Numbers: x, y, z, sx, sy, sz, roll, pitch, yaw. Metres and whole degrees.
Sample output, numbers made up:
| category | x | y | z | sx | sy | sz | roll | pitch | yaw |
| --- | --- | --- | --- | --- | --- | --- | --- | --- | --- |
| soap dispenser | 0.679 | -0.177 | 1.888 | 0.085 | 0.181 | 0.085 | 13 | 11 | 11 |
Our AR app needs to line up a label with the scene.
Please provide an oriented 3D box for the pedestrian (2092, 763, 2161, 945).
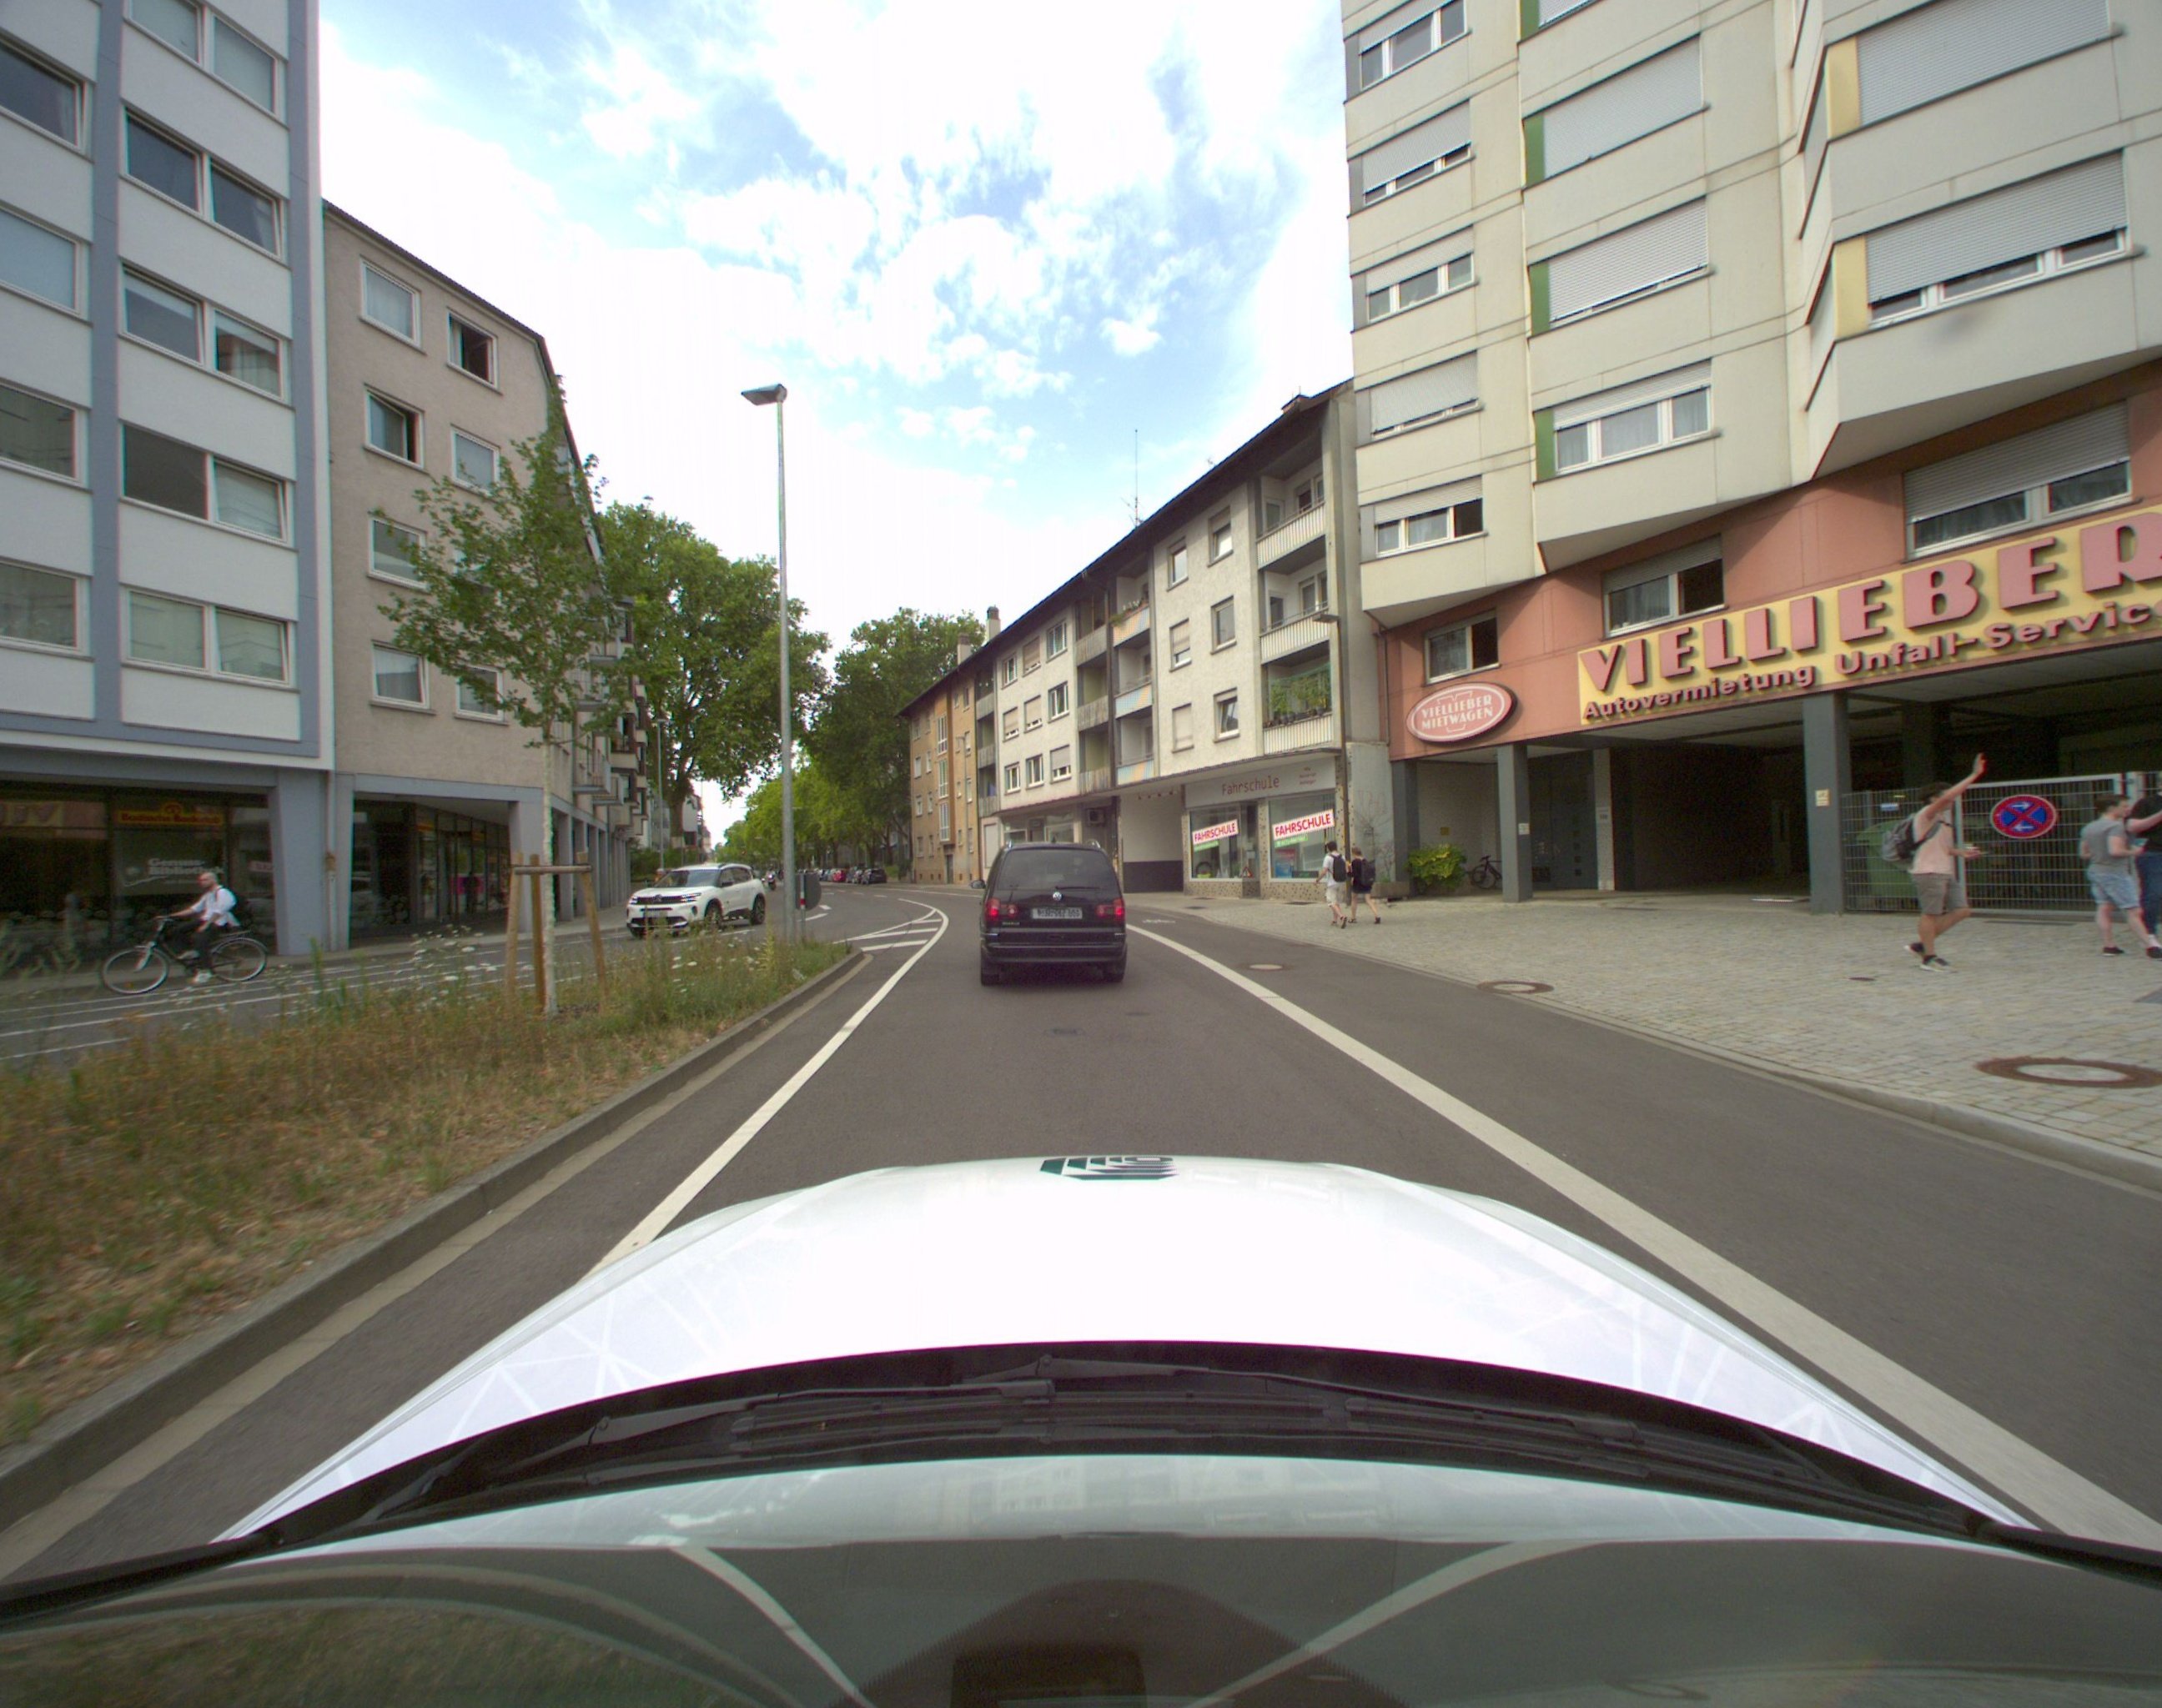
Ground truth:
| category | x | y | z | sx | sy | sz | roll | pitch | yaw |
| --- | --- | --- | --- | --- | --- | --- | --- | --- | --- |
| pedestrian | 11.528 | -0.014 | 8.771 | 0.675 | 1.903 | 0.585 | -4 | 0 | -25 |

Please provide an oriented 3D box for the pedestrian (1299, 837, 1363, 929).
| category | x | y | z | sx | sy | sz | roll | pitch | yaw |
| --- | --- | --- | --- | --- | --- | --- | --- | --- | --- |
| pedestrian | 5.035 | 0.567 | 16.436 | 0.753 | 1.750 | 0.854 | -5 | 0 | -16 |

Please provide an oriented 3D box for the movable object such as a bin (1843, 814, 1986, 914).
| category | x | y | z | sx | sy | sz | roll | pitch | yaw |
| --- | --- | --- | --- | --- | --- | --- | --- | --- | --- |
| movable object such as a bin | 12.888 | 0.152 | 12.617 | 1.151 | 1.460 | 1.213 | -1 | -1 | -27 |

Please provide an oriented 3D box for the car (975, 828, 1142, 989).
| category | x | y | z | sx | sy | sz | roll | pitch | yaw |
| --- | --- | --- | --- | --- | --- | --- | --- | --- | --- |
| car | -0.481 | 0.625 | 10.903 | 1.811 | 1.766 | 3.726 | 0 | -1 | -9 |

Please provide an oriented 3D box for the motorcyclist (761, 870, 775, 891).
| category | x | y | z | sx | sy | sz | roll | pitch | yaw |
| --- | --- | --- | --- | --- | --- | --- | --- | --- | --- |
| motorcyclist | -22.052 | 1.857 | 57.380 | 0.799 | 1.460 | 0.858 | -3 | -1 | -23 |

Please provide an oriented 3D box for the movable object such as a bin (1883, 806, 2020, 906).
| category | x | y | z | sx | sy | sz | roll | pitch | yaw |
| --- | --- | --- | --- | --- | --- | --- | --- | --- | --- |
| movable object such as a bin | 14.018 | 0.033 | 13.137 | 1.200 | 1.516 | 1.186 | -1 | -1 | -27 |

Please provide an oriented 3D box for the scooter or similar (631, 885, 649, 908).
| category | x | y | z | sx | sy | sz | roll | pitch | yaw |
| --- | --- | --- | --- | --- | --- | --- | --- | --- | --- |
| scooter or similar | -24.588 | 2.371 | 45.392 | 1.162 | 1.265 | 0.289 | -2 | -2 | 27 |

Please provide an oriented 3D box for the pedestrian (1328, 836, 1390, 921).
| category | x | y | z | sx | sy | sz | roll | pitch | yaw |
| --- | --- | --- | --- | --- | --- | --- | --- | --- | --- |
| pedestrian | 5.708 | 0.505 | 16.758 | 0.608 | 1.668 | 0.935 | -4 | 0 | -27 |

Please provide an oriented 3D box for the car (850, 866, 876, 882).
| category | x | y | z | sx | sy | sz | roll | pitch | yaw |
| --- | --- | --- | --- | --- | --- | --- | --- | --- | --- |
| car | -20.592 | 1.894 | 76.970 | 1.666 | 1.422 | 3.913 | -1 | -1 | -26 |

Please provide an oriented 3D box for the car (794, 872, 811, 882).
| category | x | y | z | sx | sy | sz | roll | pitch | yaw |
| --- | --- | --- | --- | --- | --- | --- | --- | --- | --- |
| car | -39.920 | 3.309 | 116.641 | 1.684 | 1.394 | 4.422 | 0 | -2 | -26 |

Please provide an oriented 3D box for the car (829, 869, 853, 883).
| category | x | y | z | sx | sy | sz | roll | pitch | yaw |
| --- | --- | --- | --- | --- | --- | --- | --- | --- | --- |
| car | -25.329 | 2.327 | 85.770 | 1.684 | 1.394 | 4.422 | 0 | -2 | -26 |

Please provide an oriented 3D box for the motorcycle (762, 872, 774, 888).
| category | x | y | z | sx | sy | sz | roll | pitch | yaw |
| --- | --- | --- | --- | --- | --- | --- | --- | --- | --- |
| motorcycle | -22.030 | 1.827 | 57.350 | 0.724 | 1.095 | 2.021 | -3 | -1 | -22 |

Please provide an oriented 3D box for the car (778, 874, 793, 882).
| category | x | y | z | sx | sy | sz | roll | pitch | yaw |
| --- | --- | --- | --- | --- | --- | --- | --- | --- | --- |
| car | -49.005 | 4.019 | 134.998 | 1.651 | 1.395 | 3.479 | 2 | -3 | -29 |

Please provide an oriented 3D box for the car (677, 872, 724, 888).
| category | x | y | z | sx | sy | sz | roll | pitch | yaw |
| --- | --- | --- | --- | --- | --- | --- | --- | --- | --- |
| car | -38.891 | 2.642 | 83.250 | 4.277 | 1.606 | 1.952 | 1 | -1 | -25 |

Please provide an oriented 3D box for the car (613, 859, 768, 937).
| category | x | y | z | sx | sy | sz | roll | pitch | yaw |
| --- | --- | --- | --- | --- | --- | --- | --- | --- | --- |
| car | -9.397 | 0.992 | 20.030 | 1.827 | 1.660 | 4.320 | -1 | -1 | -2 |

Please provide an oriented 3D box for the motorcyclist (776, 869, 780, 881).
| category | x | y | z | sx | sy | sz | roll | pitch | yaw |
| --- | --- | --- | --- | --- | --- | --- | --- | --- | --- |
| motorcyclist | -39.977 | 2.759 | 107.412 | 0.448 | 1.647 | 0.515 | -1 | -2 | -25 |

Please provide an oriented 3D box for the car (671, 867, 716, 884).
| category | x | y | z | sx | sy | sz | roll | pitch | yaw |
| --- | --- | --- | --- | --- | --- | --- | --- | --- | --- |
| car | -44.312 | 2.432 | 93.188 | 4.548 | 1.879 | 2.030 | 1 | -3 | -25 |

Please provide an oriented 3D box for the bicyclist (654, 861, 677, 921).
| category | x | y | z | sx | sy | sz | roll | pitch | yaw |
| --- | --- | --- | --- | --- | --- | --- | --- | --- | --- |
| bicyclist | -12.285 | 1.080 | 24.072 | 0.540 | 1.743 | 0.751 | -1 | -2 | -25 |

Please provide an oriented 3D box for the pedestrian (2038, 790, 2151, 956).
| category | x | y | z | sx | sy | sz | roll | pitch | yaw |
| --- | --- | --- | --- | --- | --- | --- | --- | --- | --- |
| pedestrian | 10.720 | 0.192 | 8.621 | 0.475 | 1.672 | 0.585 | -4 | 0 | -25 |

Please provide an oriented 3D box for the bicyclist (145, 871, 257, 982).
| category | x | y | z | sx | sy | sz | roll | pitch | yaw |
| --- | --- | --- | --- | --- | --- | --- | --- | --- | --- |
| bicyclist | -13.848 | 1.112 | 12.834 | 0.602 | 1.646 | 1.043 | -2 | -1 | 22 |

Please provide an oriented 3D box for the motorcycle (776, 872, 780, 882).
| category | x | y | z | sx | sy | sz | roll | pitch | yaw |
| --- | --- | --- | --- | --- | --- | --- | --- | --- | --- |
| motorcycle | -39.932 | 3.027 | 107.317 | 0.374 | 1.350 | 1.717 | -1 | -2 | -25 |

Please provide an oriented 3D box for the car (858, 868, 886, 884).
| category | x | y | z | sx | sy | sz | roll | pitch | yaw |
| --- | --- | --- | --- | --- | --- | --- | --- | --- | --- |
| car | -18.662 | 1.939 | 72.593 | 1.666 | 1.422 | 3.833 | -1 | -1 | -26 |

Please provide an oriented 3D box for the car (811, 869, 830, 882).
| category | x | y | z | sx | sy | sz | roll | pitch | yaw |
| --- | --- | --- | --- | --- | --- | --- | --- | --- | --- |
| car | -31.970 | 2.624 | 99.765 | 1.638 | 1.470 | 4.279 | 0 | -2 | -26 |

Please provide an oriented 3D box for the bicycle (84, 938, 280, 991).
| category | x | y | z | sx | sy | sz | roll | pitch | yaw |
| --- | --- | --- | --- | --- | --- | --- | --- | --- | --- |
| bicycle | -13.954 | 1.695 | 12.726 | 0.479 | 0.588 | 2.009 | -2 | -1 | 22 |

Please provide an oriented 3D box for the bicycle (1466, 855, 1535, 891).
| category | x | y | z | sx | sy | sz | roll | pitch | yaw |
| --- | --- | --- | --- | --- | --- | --- | --- | --- | --- |
| bicycle | 10.969 | 0.486 | 21.351 | 0.455 | 0.896 | 1.664 | -1 | -1 | -26 |

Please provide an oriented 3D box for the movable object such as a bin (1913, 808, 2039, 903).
| category | x | y | z | sx | sy | sz | roll | pitch | yaw |
| --- | --- | --- | --- | --- | --- | --- | --- | --- | --- |
| movable object such as a bin | 15.021 | 0.035 | 13.691 | 1.007 | 1.516 | 1.157 | -1 | -1 | -27 |

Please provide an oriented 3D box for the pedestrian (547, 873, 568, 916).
| category | x | y | z | sx | sy | sz | roll | pitch | yaw |
| --- | --- | --- | --- | --- | --- | --- | --- | --- | --- |
| pedestrian | -21.419 | 1.651 | 33.348 | 0.584 | 1.757 | 0.777 | 1 | -3 | -26 |

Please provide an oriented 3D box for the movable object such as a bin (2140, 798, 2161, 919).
| category | x | y | z | sx | sy | sz | roll | pitch | yaw |
| --- | --- | --- | --- | --- | --- | --- | --- | --- | --- |
| movable object such as a bin | 14.215 | 0.034 | 10.100 | 1.149 | 1.516 | 1.079 | -1 | -1 | -27 |

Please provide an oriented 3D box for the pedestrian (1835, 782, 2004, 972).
| category | x | y | z | sx | sy | sz | roll | pitch | yaw |
| --- | --- | --- | --- | --- | --- | --- | --- | --- | --- |
| pedestrian | 8.811 | 0.233 | 8.592 | 0.659 | 1.852 | 0.964 | -4 | -1 | -22 |
